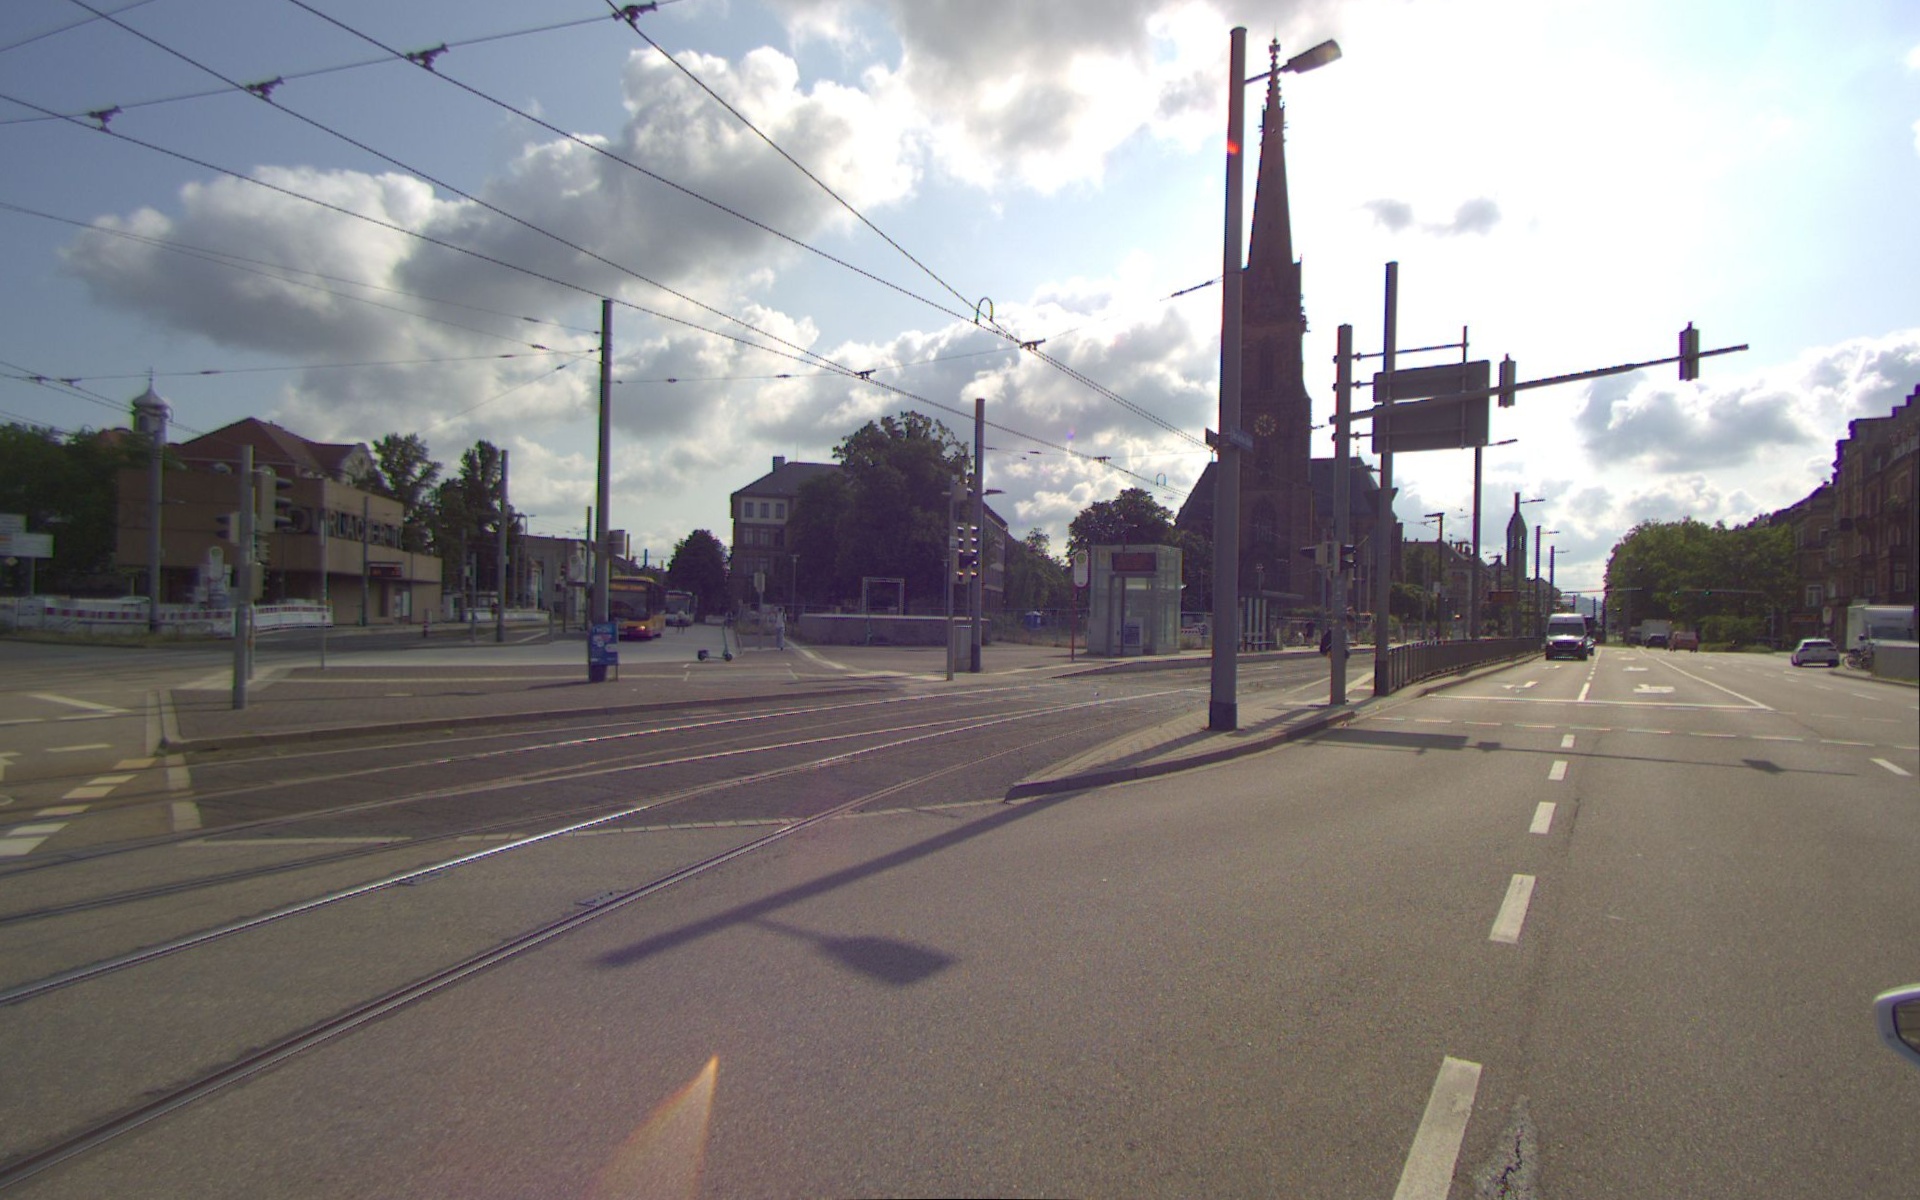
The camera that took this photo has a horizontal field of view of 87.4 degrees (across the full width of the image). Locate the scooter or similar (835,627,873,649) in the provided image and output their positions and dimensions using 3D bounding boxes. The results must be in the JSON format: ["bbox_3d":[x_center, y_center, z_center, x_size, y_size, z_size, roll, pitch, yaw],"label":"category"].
[{"bbox_3d":[-4.769,1.717,45.091,1.635,0.962,0.472,1,-1,-12],"label":"scooter or similar"}]

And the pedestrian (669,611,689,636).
[{"bbox_3d":[-17.815,1.477,63.669,0.835,1.542,0.799,1,-1,28],"label":"pedestrian"}]

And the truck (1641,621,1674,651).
[{"bbox_3d":[84.267,4.386,121.481,3.127,3.328,7.279,0,-4,34],"label":"truck"}]

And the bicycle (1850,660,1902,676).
[{"bbox_3d":[41.977,3.111,46.038,0.626,0.594,1.769,-1,-1,-6],"label":"bicycle"}]

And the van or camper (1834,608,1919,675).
[{"bbox_3d":[50.553,2.187,55.312,2.676,3.375,7.616,-1,-1,34],"label":"van or camper"}]

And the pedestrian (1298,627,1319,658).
[{"bbox_3d":[21.698,2.616,62.543,0.985,1.824,1.042,1,3,39],"label":"pedestrian"}]

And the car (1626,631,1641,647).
[{"bbox_3d":[97.423,5.652,145.221,1.746,2.263,3.990,0,-3,33],"label":"car"}]

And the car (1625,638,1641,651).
[{"bbox_3d":[90.442,5.999,135.018,1.746,1.683,3.990,0,-3,33],"label":"car"}]

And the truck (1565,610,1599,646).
[{"bbox_3d":[66.970,2.989,108.288,2.425,3.697,7.441,1,-1,27],"label":"truck"}]

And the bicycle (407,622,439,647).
[{"bbox_3d":[-25.028,1.623,46.848,0.799,1.005,2.065,3,-5,-14],"label":"bicycle"}]

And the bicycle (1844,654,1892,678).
[{"bbox_3d":[44.743,3.254,49.494,1.730,1.099,0.372,0,1,22],"label":"bicycle"}]

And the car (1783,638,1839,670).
[{"bbox_3d":[46.028,2.900,54.385,1.768,1.456,4.329,-5,-4,34],"label":"car"}]

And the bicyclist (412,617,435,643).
[{"bbox_3d":[-25.028,1.411,46.876,0.685,1.167,0.737,3,-5,-15],"label":"bicyclist"}]

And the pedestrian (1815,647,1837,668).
[{"bbox_3d":[58.938,3.910,68.366,0.730,1.333,0.821,1,0,-5],"label":"pedestrian"}]

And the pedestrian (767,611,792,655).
[{"bbox_3d":[-7.234,1.295,40.256,0.914,1.712,1.094,0,1,-15],"label":"pedestrian"}]

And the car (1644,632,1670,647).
[{"bbox_3d":[73.624,4.172,106.147,1.965,1.528,3.991,1,-1,31],"label":"car"}]

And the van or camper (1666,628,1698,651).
[{"bbox_3d":[69.046,3.778,96.126,1.979,1.939,4.517,2,-3,29],"label":"van or camper"}]

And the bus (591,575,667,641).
[{"bbox_3d":[-15.648,0.423,47.892,2.654,2.871,7.083,1,-1,-12],"label":"bus"}]

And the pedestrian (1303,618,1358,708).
[{"bbox_3d":[7.255,1.214,19.649,0.830,1.695,0.793,-2,-1,32],"label":"pedestrian"}]

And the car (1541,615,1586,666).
[{"bbox_3d":[34.362,2.258,57.160,1.966,2.656,5.566,-3,-1,32],"label":"car"}]

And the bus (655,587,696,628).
[{"bbox_3d":[-26.886,0.732,95.296,2.914,3.554,12.224,1,-1,-12],"label":"bus"}]

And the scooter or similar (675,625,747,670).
[{"bbox_3d":[-7.257,1.393,29.344,1.316,1.204,1.490,1,-3,35],"label":"scooter or similar"}]

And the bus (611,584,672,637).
[{"bbox_3d":[-16.974,0.571,53.818,2.655,2.621,5.065,1,-1,-13],"label":"bus"}]
